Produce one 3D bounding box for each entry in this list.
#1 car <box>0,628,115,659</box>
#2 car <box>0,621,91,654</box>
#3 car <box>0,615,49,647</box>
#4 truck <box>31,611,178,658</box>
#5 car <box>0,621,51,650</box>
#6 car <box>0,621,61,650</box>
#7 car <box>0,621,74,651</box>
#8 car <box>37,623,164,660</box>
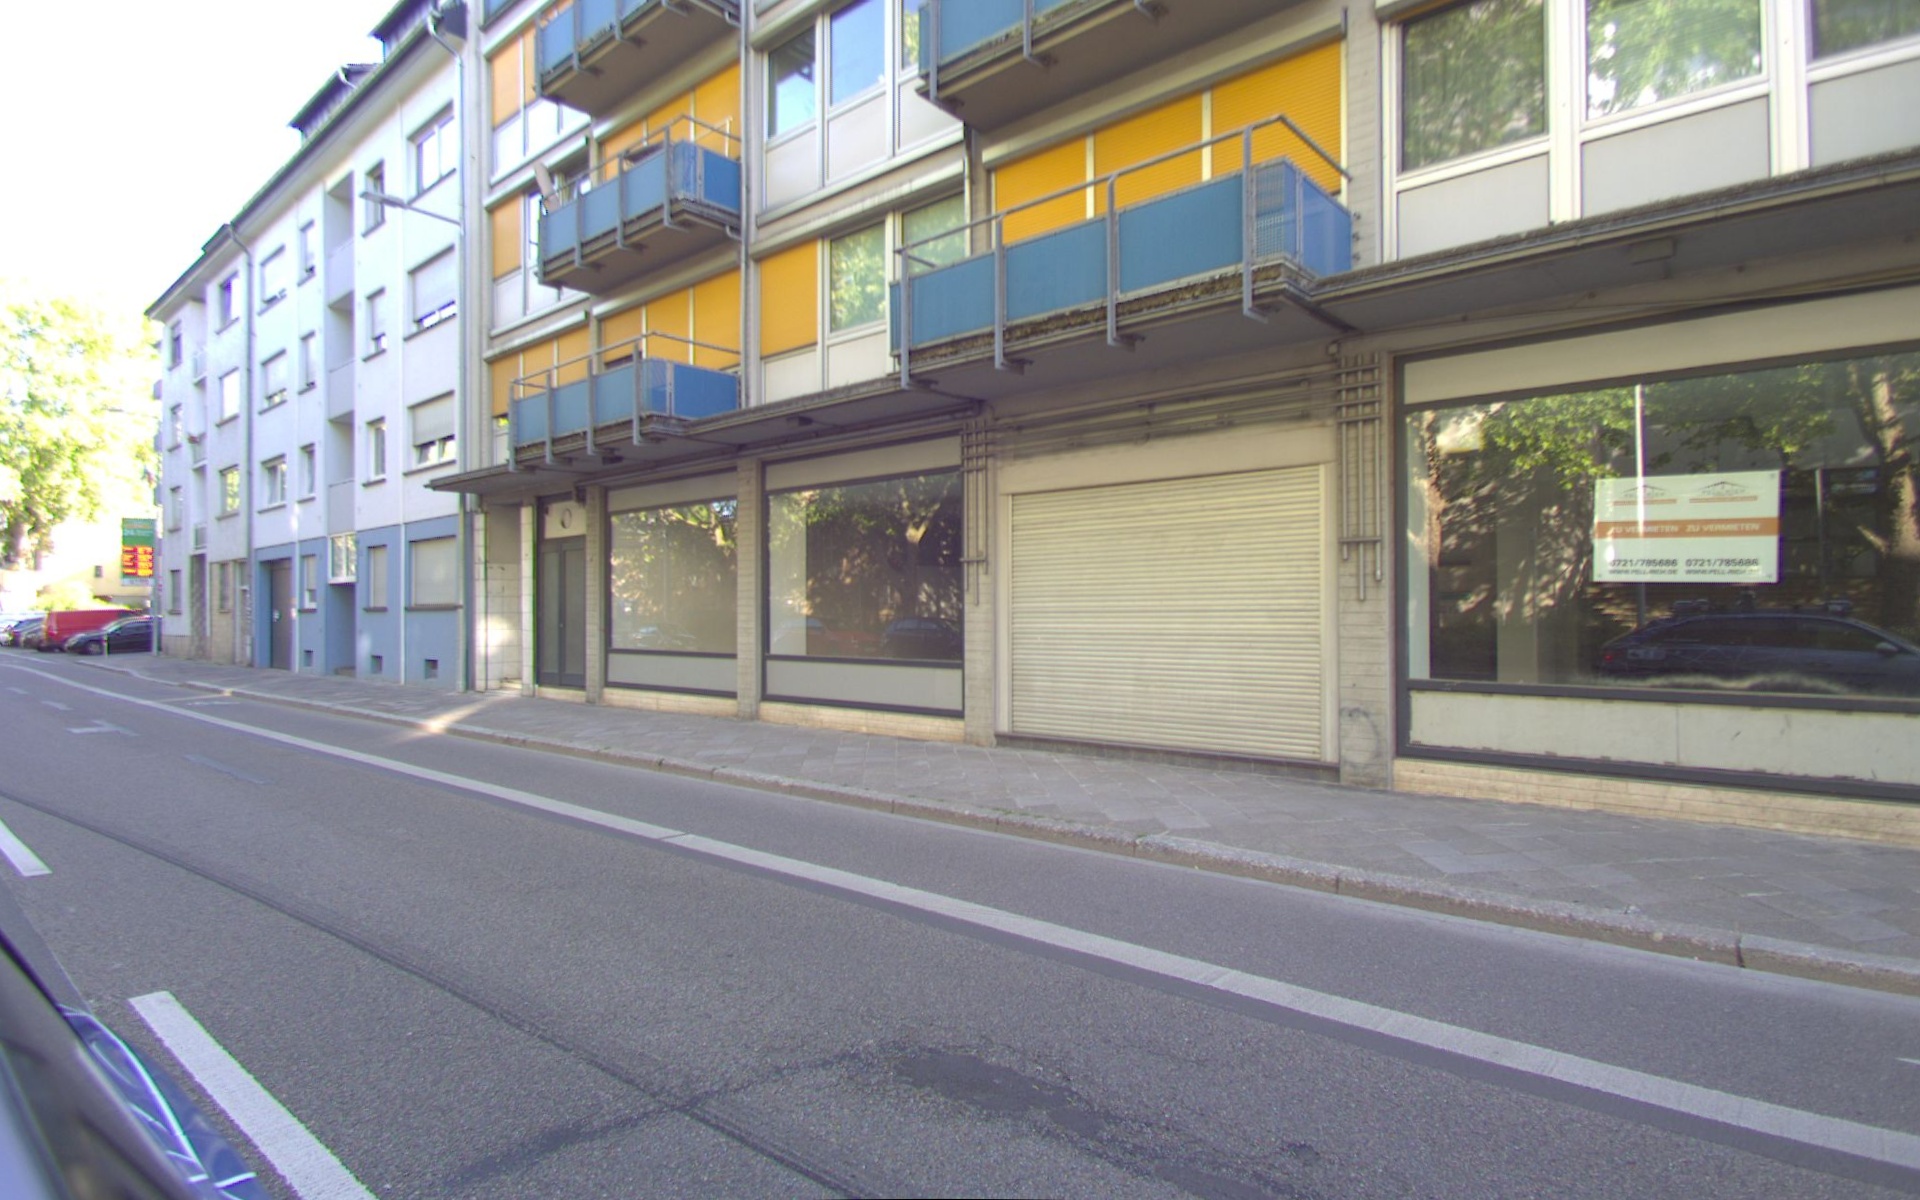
[{"bbox_3d":[-43.281,2.047,48.535,1.904,1.282,3.983,-1,0,39],"label":"car"},{"bbox_3d":[-50.817,2.058,55.962,1.699,1.640,3.952,-1,0,35],"label":"car"},{"bbox_3d":[-59.728,1.969,63.804,1.693,1.953,3.224,-1,0,43],"label":"car"},{"bbox_3d":[-40.346,1.584,47.831,1.998,2.036,5.024,-1,0,40],"label":"truck"},{"bbox_3d":[-56.884,2.123,60.388,1.740,1.600,3.685,-1,0,35],"label":"car"},{"bbox_3d":[-55.063,2.083,58.995,1.715,1.594,3.660,-1,0,35],"label":"car"},{"bbox_3d":[-52.879,2.038,57.466,1.656,1.599,3.615,-1,0,35],"label":"car"},{"bbox_3d":[-37.001,1.751,43.623,1.780,1.404,3.947,-1,0,39],"label":"car"}]
